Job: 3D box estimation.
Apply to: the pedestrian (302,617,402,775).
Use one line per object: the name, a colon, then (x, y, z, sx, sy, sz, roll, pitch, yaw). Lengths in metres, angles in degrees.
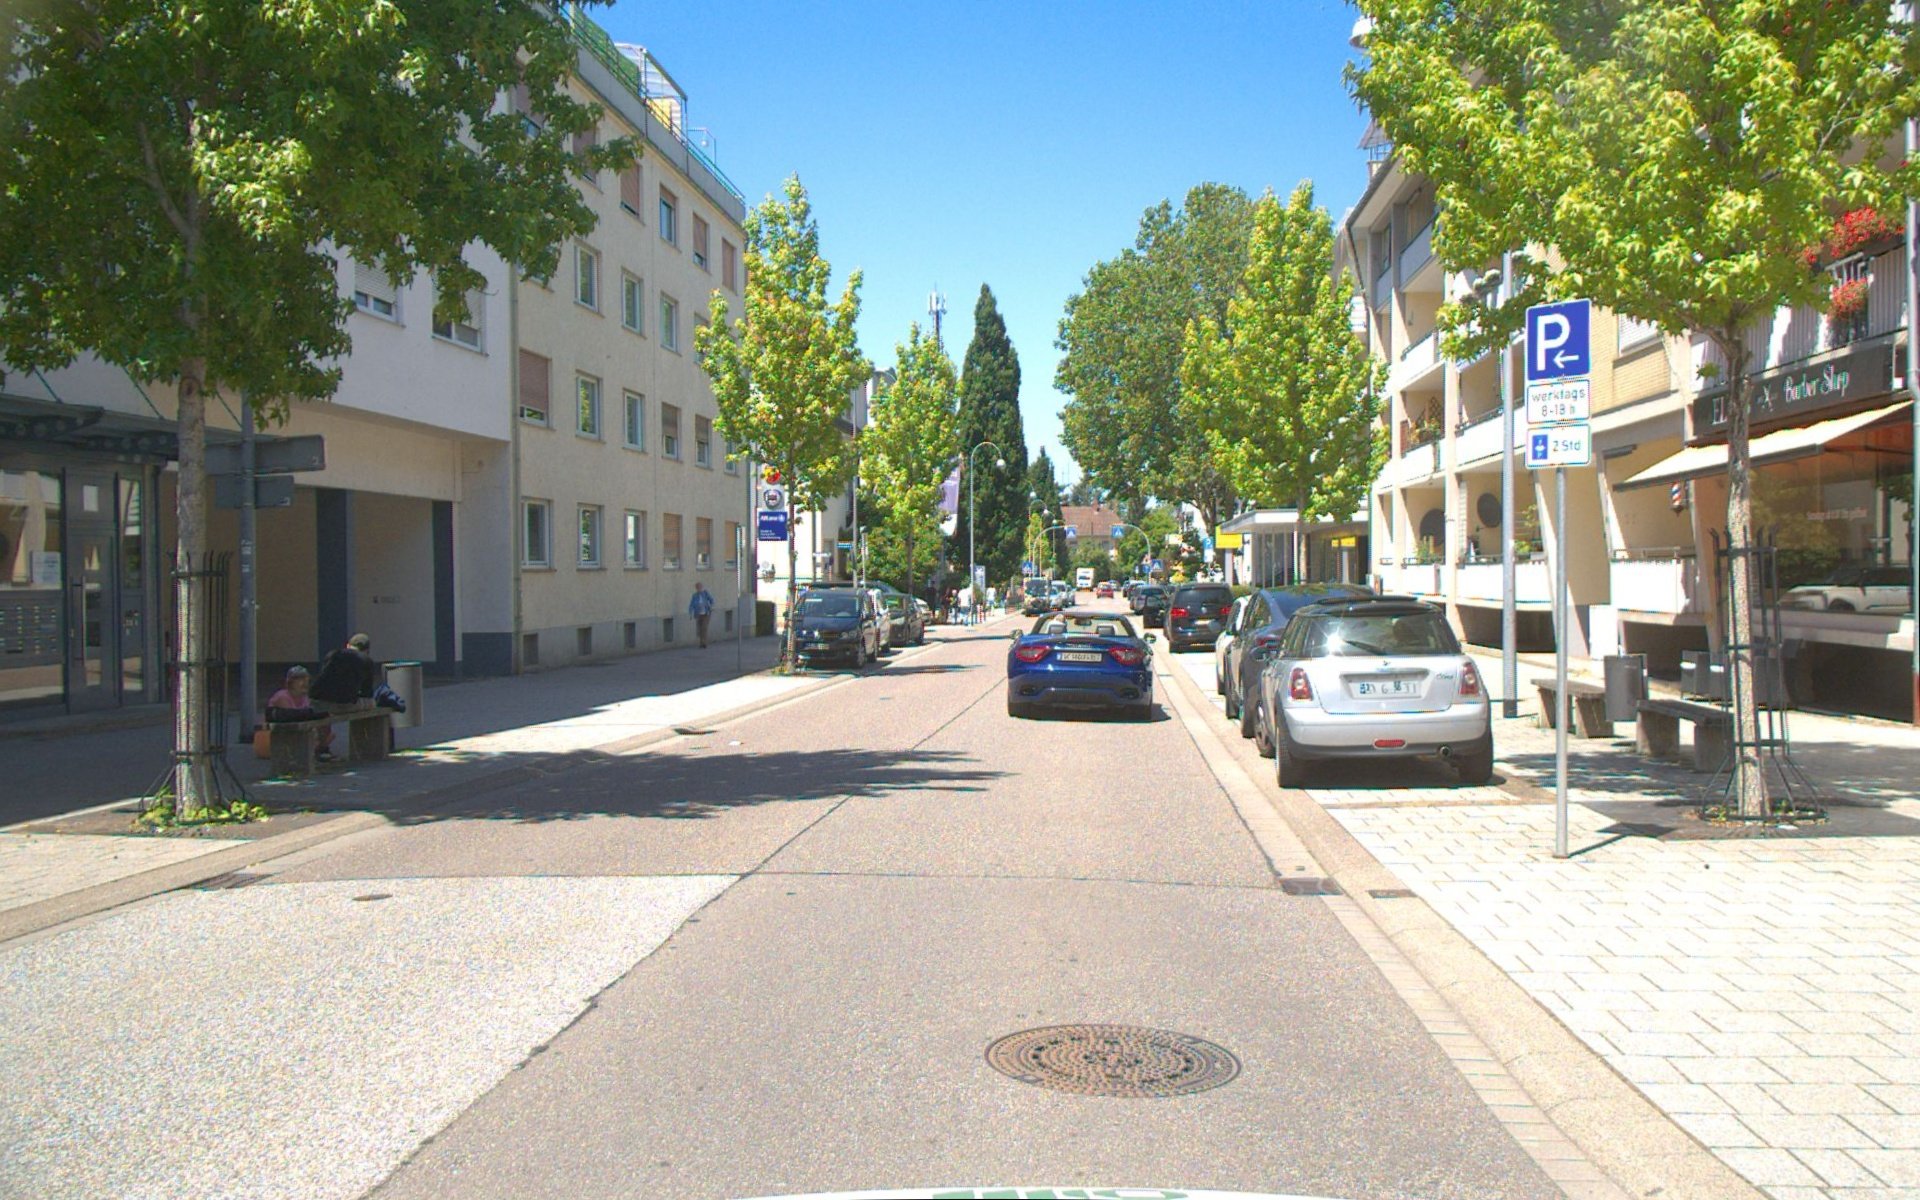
pedestrian: (-5.548, 0.867, 15.107, 0.555, 1.396, 0.667, -1, 0, 14)

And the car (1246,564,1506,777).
car: (3.463, 0.519, 14.388, 1.588, 1.586, 3.843, -1, 0, 5)

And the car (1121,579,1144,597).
car: (15.228, -1.111, 146.040, 1.909, 1.502, 4.140, -2, 1, 5)

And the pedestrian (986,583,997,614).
pedestrian: (1.674, -0.089, 87.834, 0.574, 1.602, 0.782, 0, 0, 4)

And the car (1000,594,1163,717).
car: (1.623, 0.697, 22.334, 1.935, 1.422, 4.629, 2, -1, 4)

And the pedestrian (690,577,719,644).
pedestrian: (-6.701, 0.272, 43.352, 0.644, 1.709, 0.629, -2, 3, -12)

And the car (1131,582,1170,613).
car: (10.273, -0.149, 89.272, 1.934, 1.475, 4.352, -2, 1, 5)

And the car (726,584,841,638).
car: (-6.525, 0.393, 61.493, 3.974, 1.854, 1.761, 1, 1, 3)

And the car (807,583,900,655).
car: (-2.647, 0.432, 42.069, 1.786, 1.647, 4.395, 1, 1, 4)

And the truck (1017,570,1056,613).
truck: (4.089, -0.482, 87.698, 1.766, 2.154, 4.718, -2, 1, 5)

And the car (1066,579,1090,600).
car: (8.959, -0.794, 125.313, 1.732, 1.502, 4.140, -2, 1, 5)

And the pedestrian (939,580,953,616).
pedestrian: (-0.576, -0.075, 69.380, 0.567, 1.500, 0.564, 0, 0, 0)

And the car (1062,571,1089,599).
car: (7.926, -1.035, 113.585, 1.732, 1.798, 4.140, -2, 1, 4)

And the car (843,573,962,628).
car: (-2.224, 0.049, 62.324, 1.895, 1.956, 4.834, -2, 0, -40)

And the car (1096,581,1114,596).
car: (14.202, -1.105, 161.617, 1.732, 1.502, 4.140, 0, 0, 5)

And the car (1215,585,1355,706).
car: (4.746, 0.606, 24.611, 1.685, 1.611, 4.228, -2, 0, 7)

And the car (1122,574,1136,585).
car: (24.879, -3.068, 243.541, 1.909, 1.502, 4.141, -2, 1, 6)

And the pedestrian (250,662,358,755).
pedestrian: (-6.326, 1.041, 15.969, 0.650, 0.873, 0.733, -1, -4, 14)

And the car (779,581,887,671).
car: (-2.724, 0.513, 36.394, 1.692, 1.770, 4.395, 2, 1, 4)

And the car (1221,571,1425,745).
car: (4.076, 0.576, 19.262, 1.727, 1.735, 4.709, -2, 0, 6)

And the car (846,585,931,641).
car: (-2.033, 0.346, 48.247, 1.717, 1.499, 4.325, 1, 1, 7)

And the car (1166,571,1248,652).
car: (6.337, 0.241, 42.802, 1.951, 1.830, 4.573, -2, 2, 7)

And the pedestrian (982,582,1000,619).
pedestrian: (1.646, 0.025, 87.832, 0.831, 1.948, 0.762, -2, 2, 5)
